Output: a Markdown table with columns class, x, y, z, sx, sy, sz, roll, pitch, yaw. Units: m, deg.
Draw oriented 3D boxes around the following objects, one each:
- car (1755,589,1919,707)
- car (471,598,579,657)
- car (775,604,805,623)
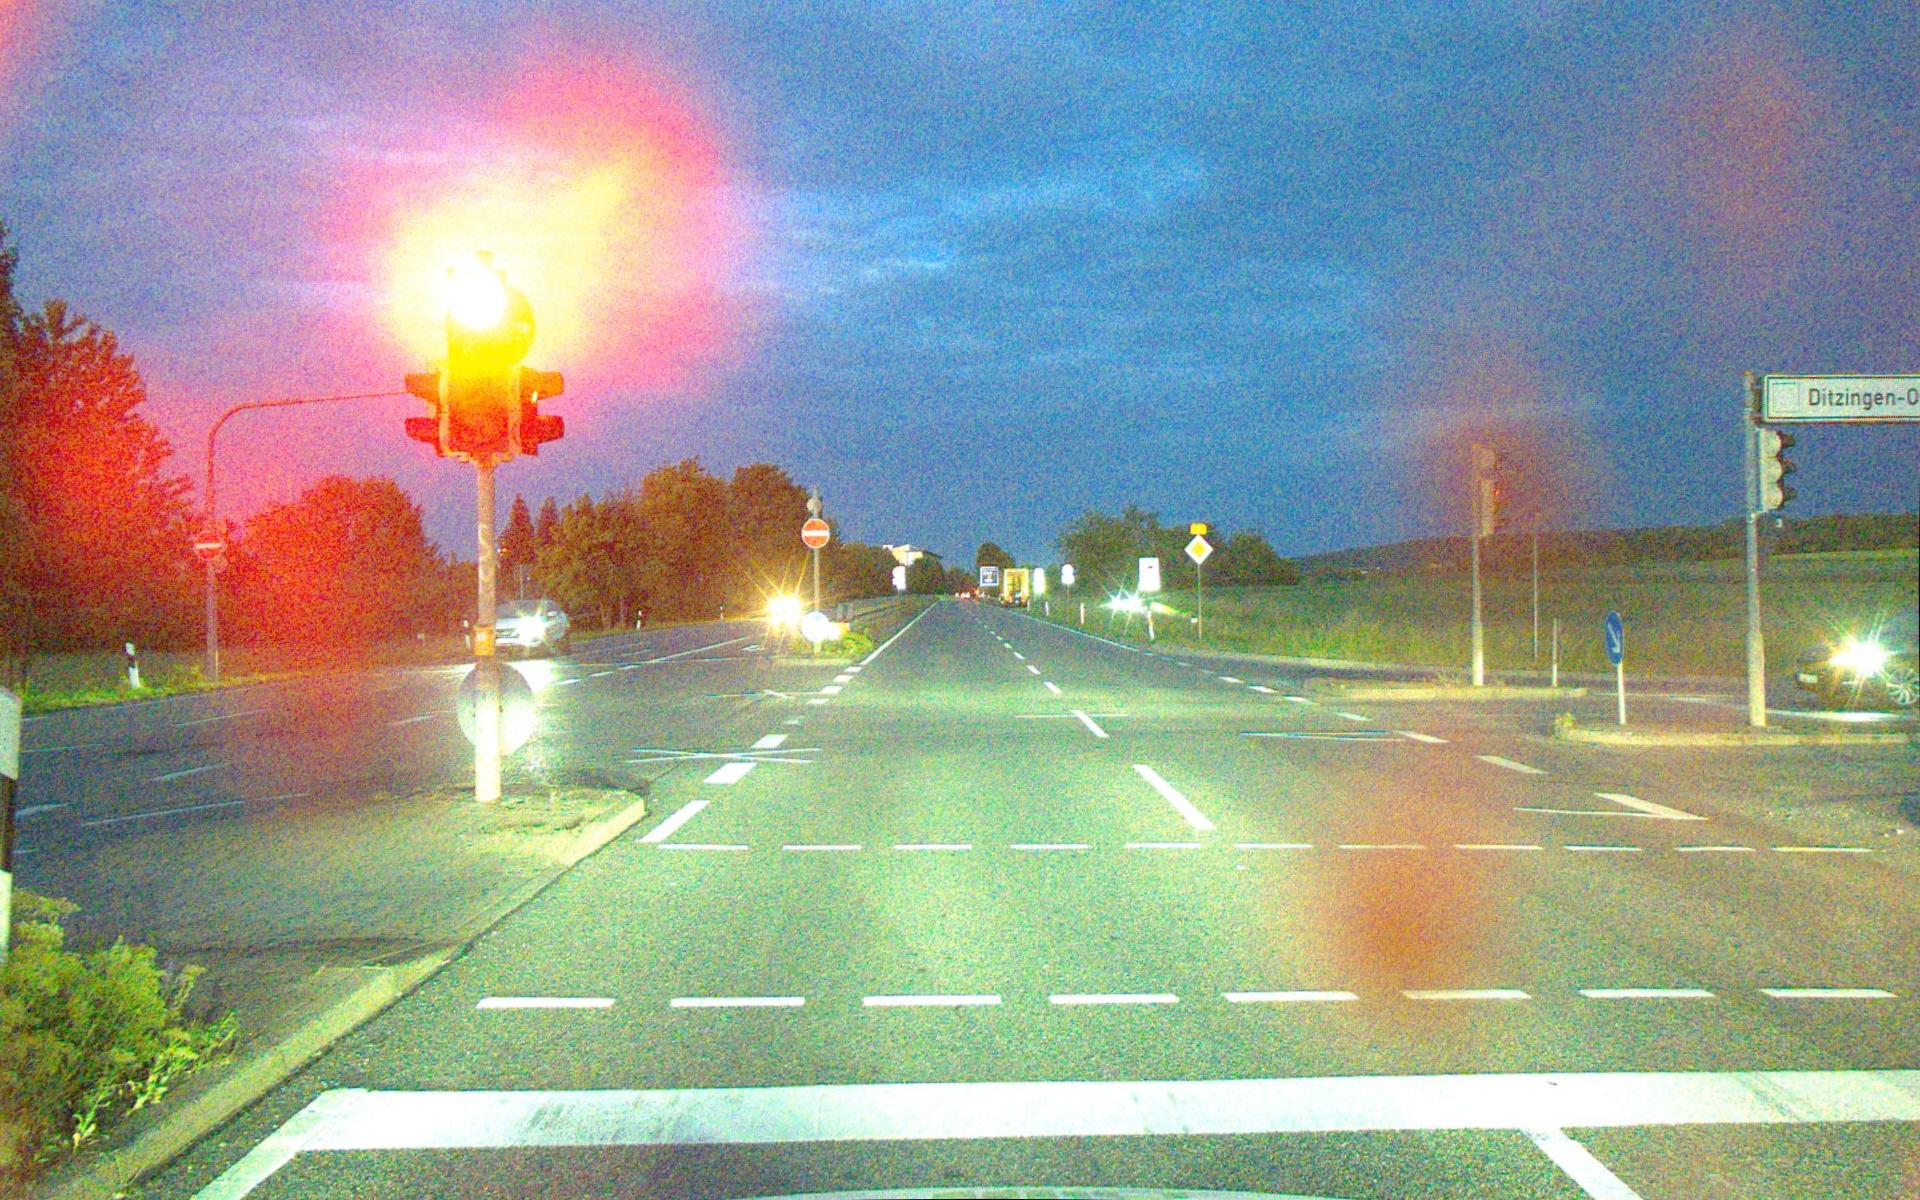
| class | x | y | z | sx | sy | sz | roll | pitch | yaw |
| --- | --- | --- | --- | --- | --- | --- | --- | --- | --- |
| car | 14.101 | 0.622 | 23.627 | 4.507 | 1.547 | 2.000 | -1 | 0 | 0 |
| car | -12.214 | 0.738 | 46.739 | 1.953 | 1.545 | 4.297 | -1 | 0 | -1 |
| car | -12.958 | 1.012 | 126.242 | 1.953 | 1.411 | 3.999 | -1 | 0 | -1 |
